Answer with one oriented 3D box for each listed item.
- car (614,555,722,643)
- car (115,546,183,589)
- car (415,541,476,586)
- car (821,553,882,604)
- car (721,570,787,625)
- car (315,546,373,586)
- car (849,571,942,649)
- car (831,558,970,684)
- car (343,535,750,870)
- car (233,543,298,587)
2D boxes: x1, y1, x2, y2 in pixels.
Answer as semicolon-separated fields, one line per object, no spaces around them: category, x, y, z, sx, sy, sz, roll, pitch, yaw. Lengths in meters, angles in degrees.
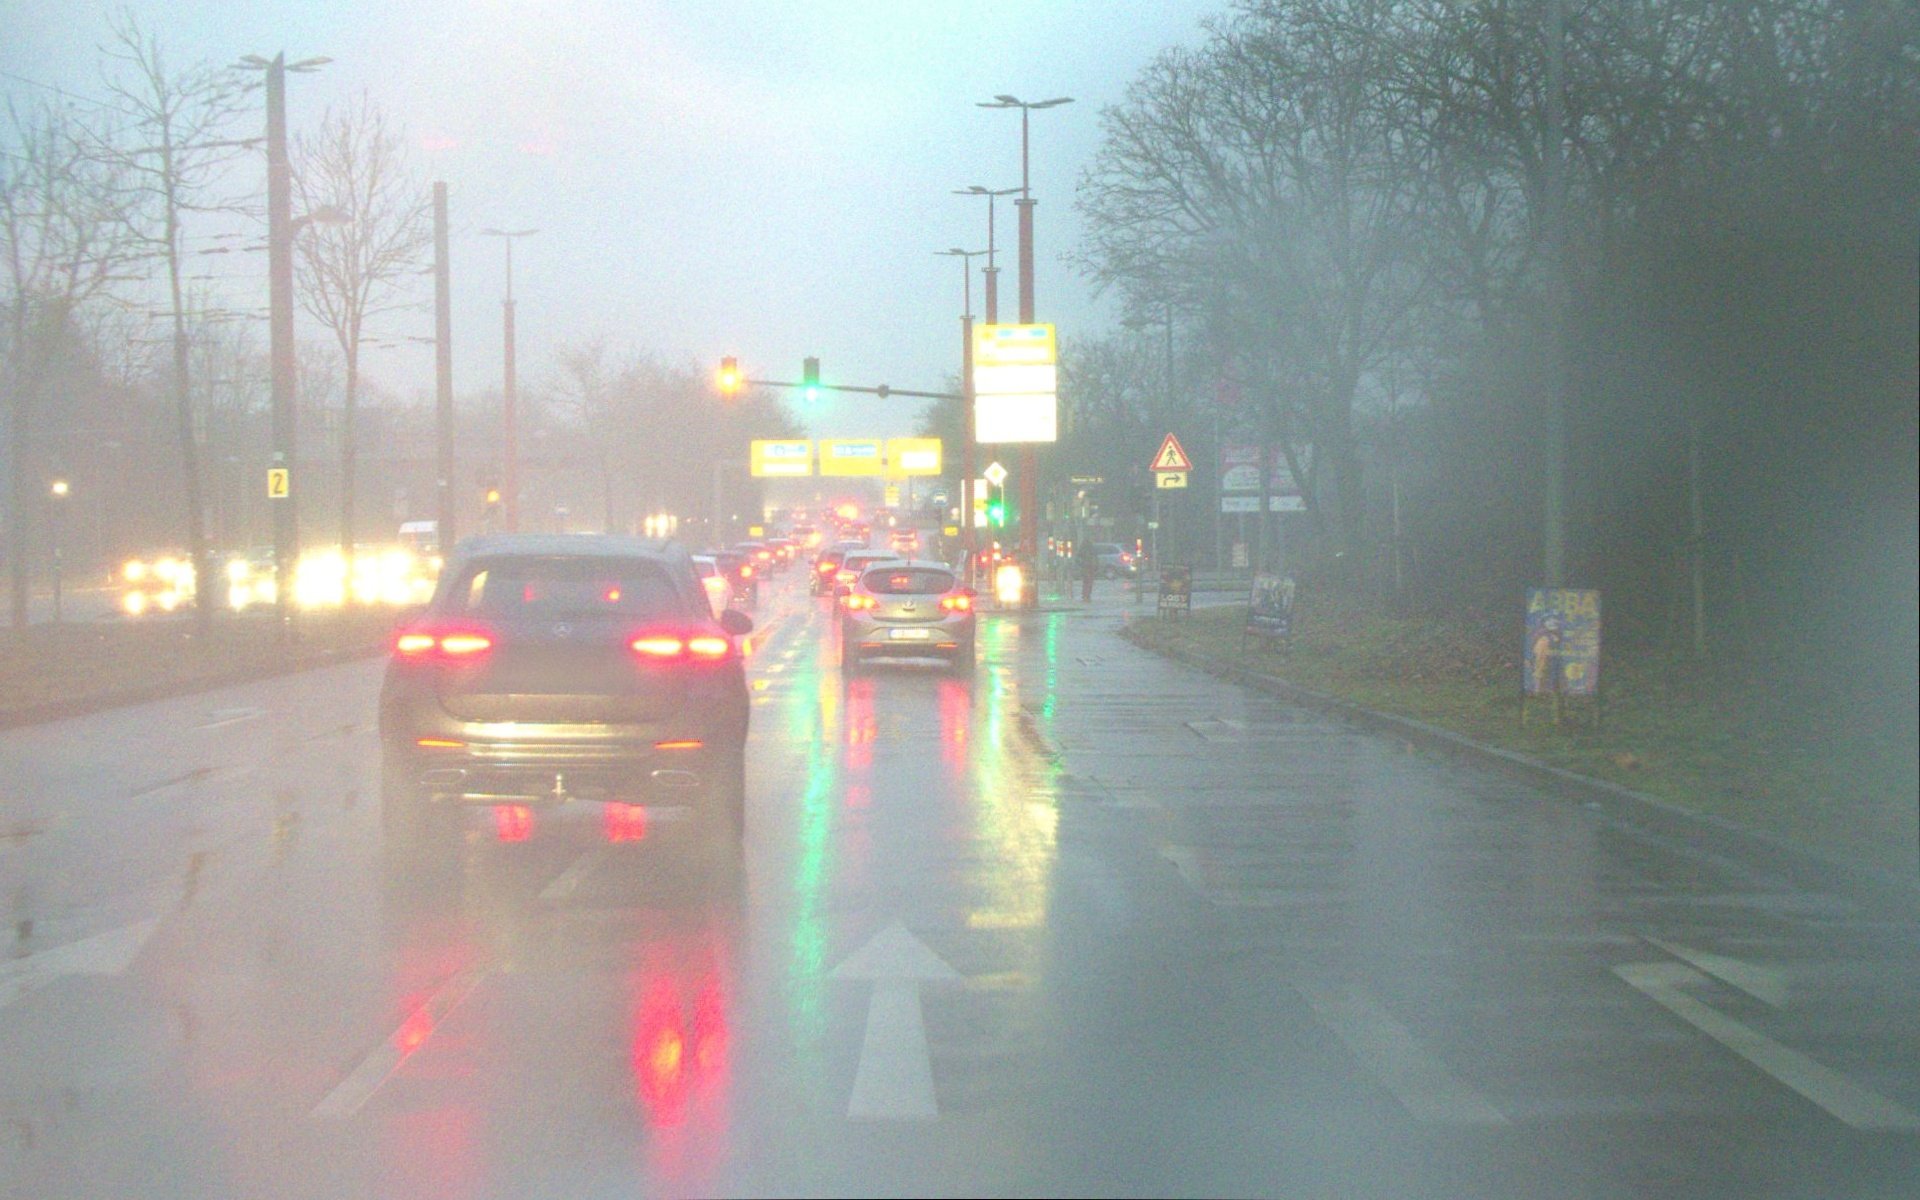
car;-5.615;-0.048;66.462;1.822;1.642;4.000;0;1;-1
car;-29.555;-1.201;125.366;1.618;1.490;4.017;0;1;-1
car;-18.924;-1.350;126.572;1.856;1.576;4.080;-1;1;-3
car;-3.275;-0.669;104.157;1.822;1.499;4.000;0;1;-1
car;-5.214;-0.086;87.243;1.505;1.334;4.000;0;1;-1
car;-22.718;-1.268;126.813;1.652;1.415;3.327;-1;1;-3
car;-1.457;0.196;76.638;1.993;1.656;4.000;1;0;-2
car;-0.829;0.243;47.350;1.822;1.642;4.467;0;1;-1
car;-2.173;0.471;19.169;1.822;1.642;4.467;0;1;-1
car;-25.227;-1.284;124.988;1.769;1.548;3.948;-1;1;-3
